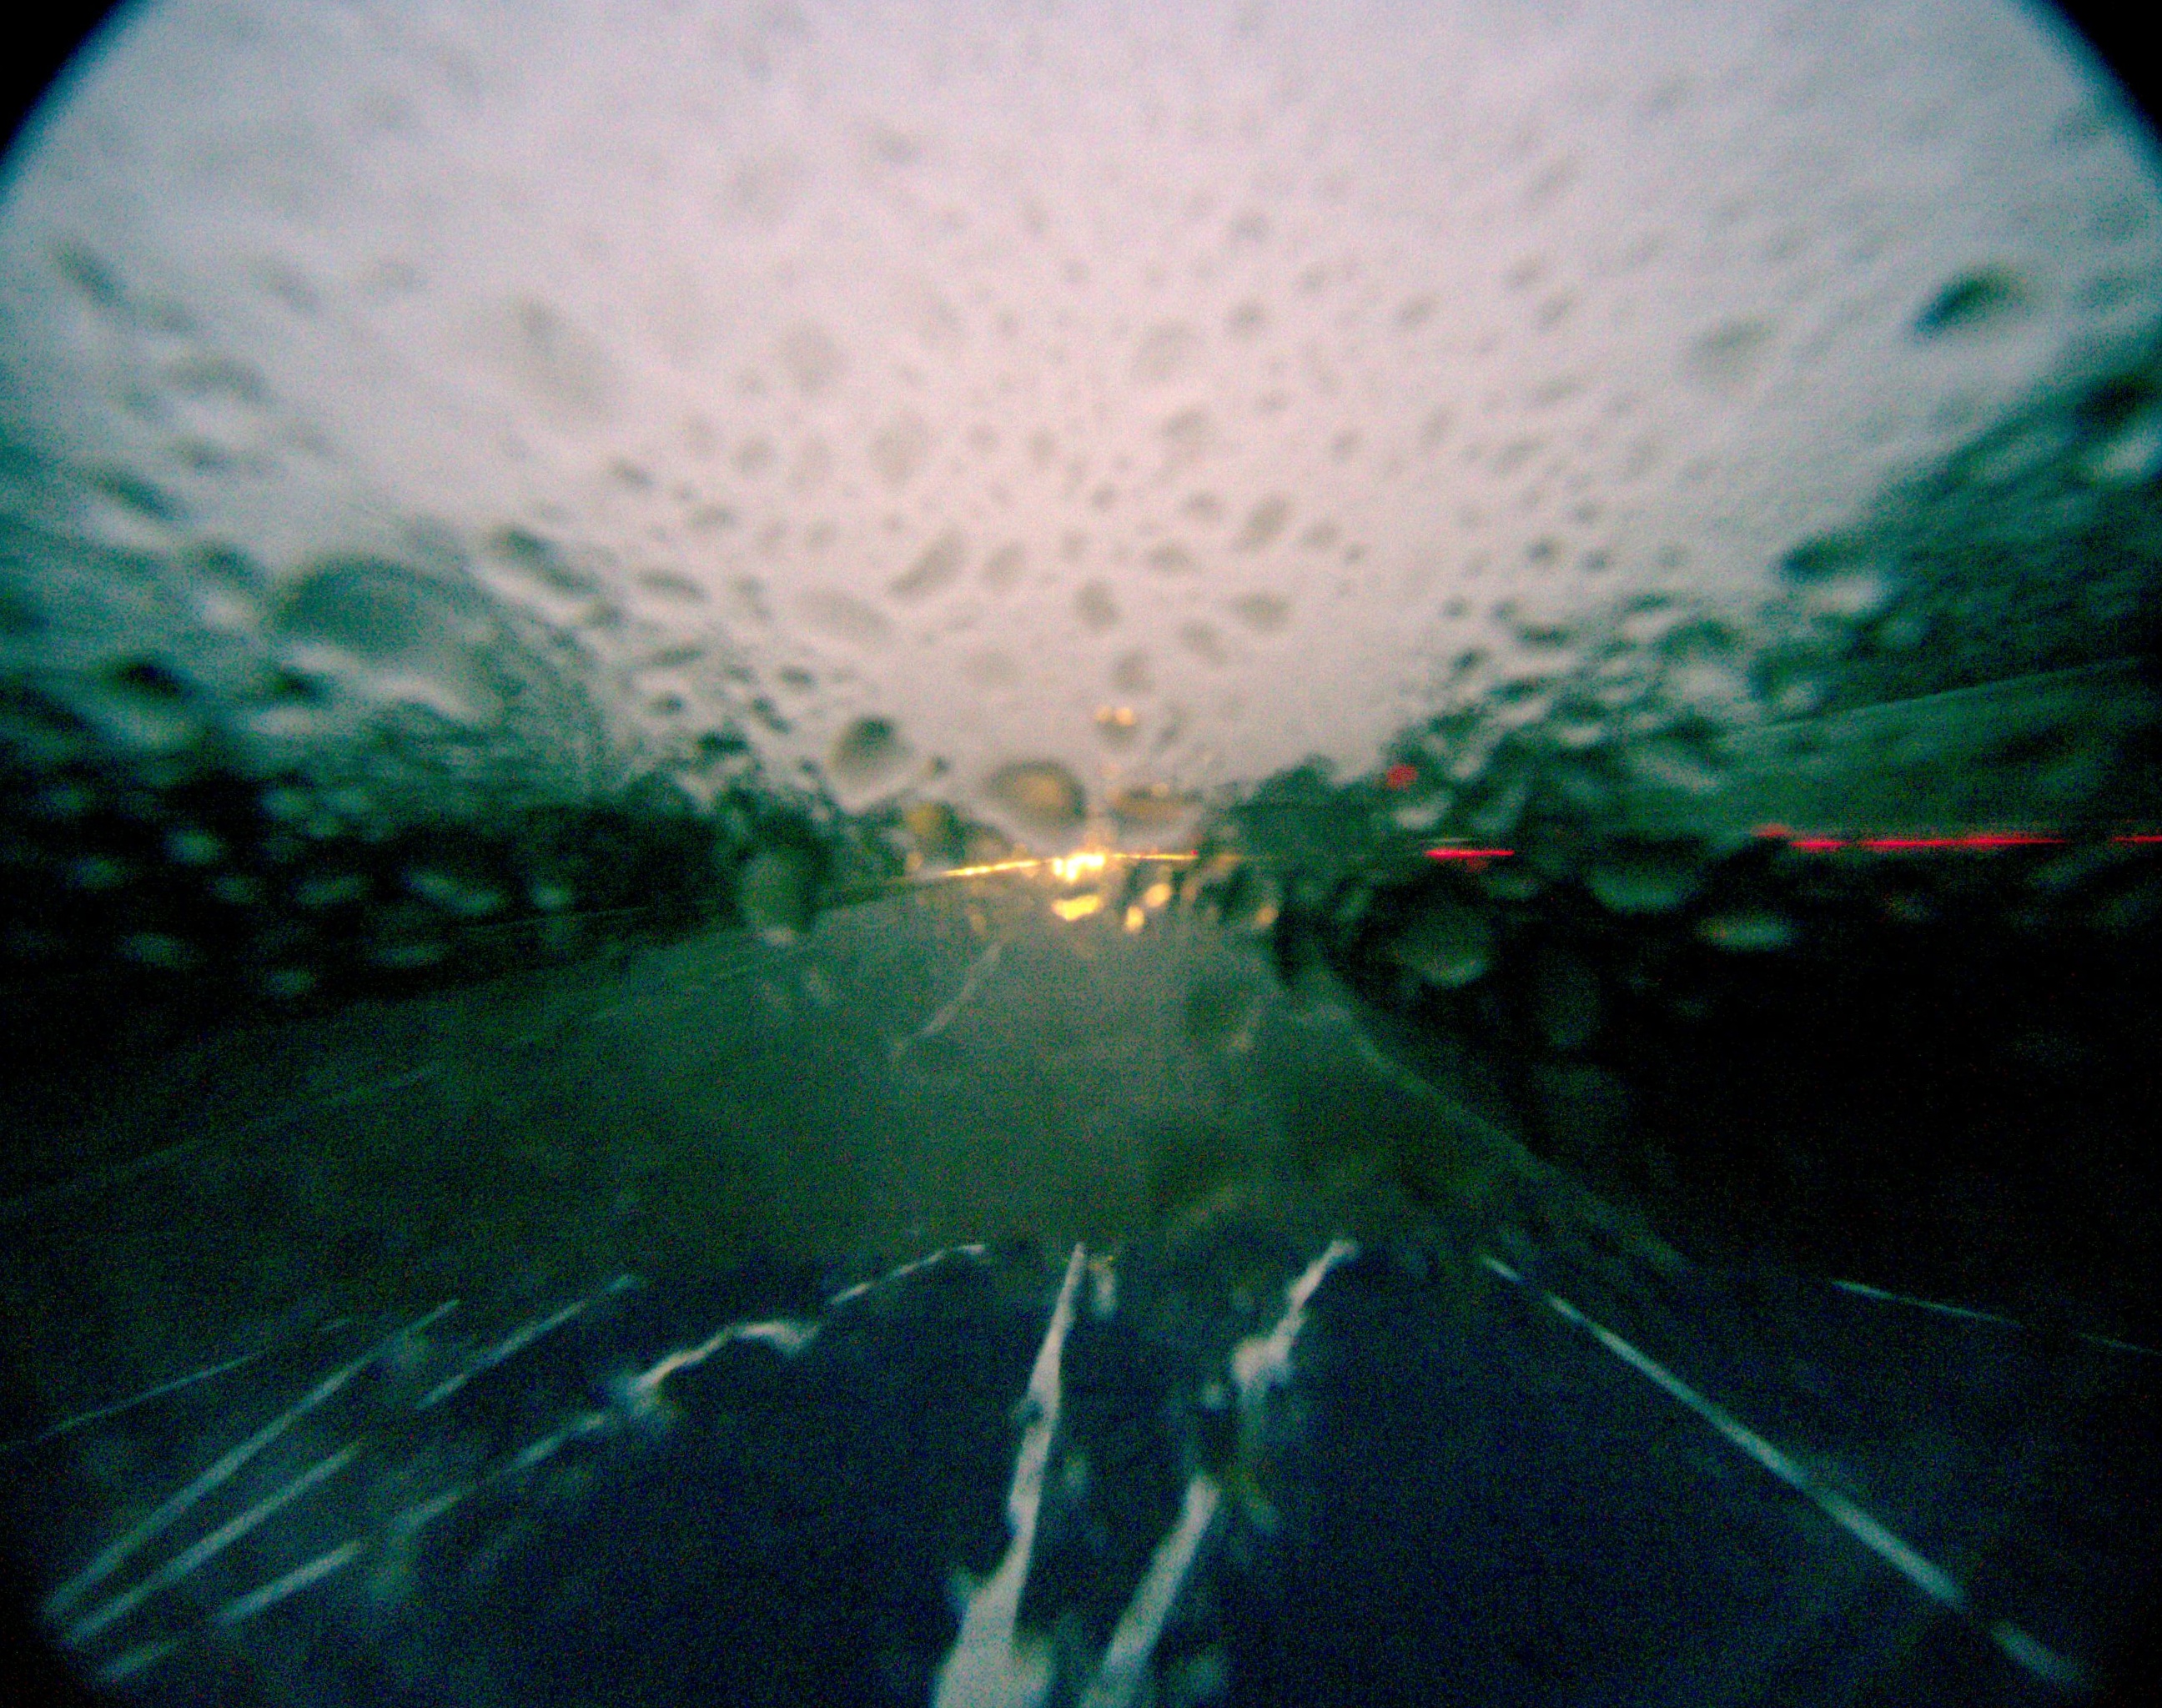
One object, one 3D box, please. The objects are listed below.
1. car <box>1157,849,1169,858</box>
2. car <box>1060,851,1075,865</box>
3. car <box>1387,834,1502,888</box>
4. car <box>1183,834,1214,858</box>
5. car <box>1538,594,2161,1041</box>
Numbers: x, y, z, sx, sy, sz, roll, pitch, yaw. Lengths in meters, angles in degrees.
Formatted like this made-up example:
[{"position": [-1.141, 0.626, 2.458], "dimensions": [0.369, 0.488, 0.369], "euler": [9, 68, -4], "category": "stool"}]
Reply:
[{"position": [14.936, -0.049, 138.227], "dimensions": [1.784, 1.598, 4.000], "euler": [-2, 1, 2], "category": "car"}, {"position": [-1.690, 0.472, 96.480], "dimensions": [1.748, 1.643, 4.000], "euler": [-2, 1, 1], "category": "car"}, {"position": [12.213, 0.196, 25.865], "dimensions": [1.694, 1.637, 4.605], "euler": [-2, 1, 0], "category": "car"}, {"position": [12.967, -0.895, 84.148], "dimensions": [2.482, 2.508, 6.268], "euler": [-2, 1, 1], "category": "car"}, {"position": [7.754, -0.299, 8.095], "dimensions": [2.309, 3.072, 5.607], "euler": [-2, 1, 0], "category": "car"}]
